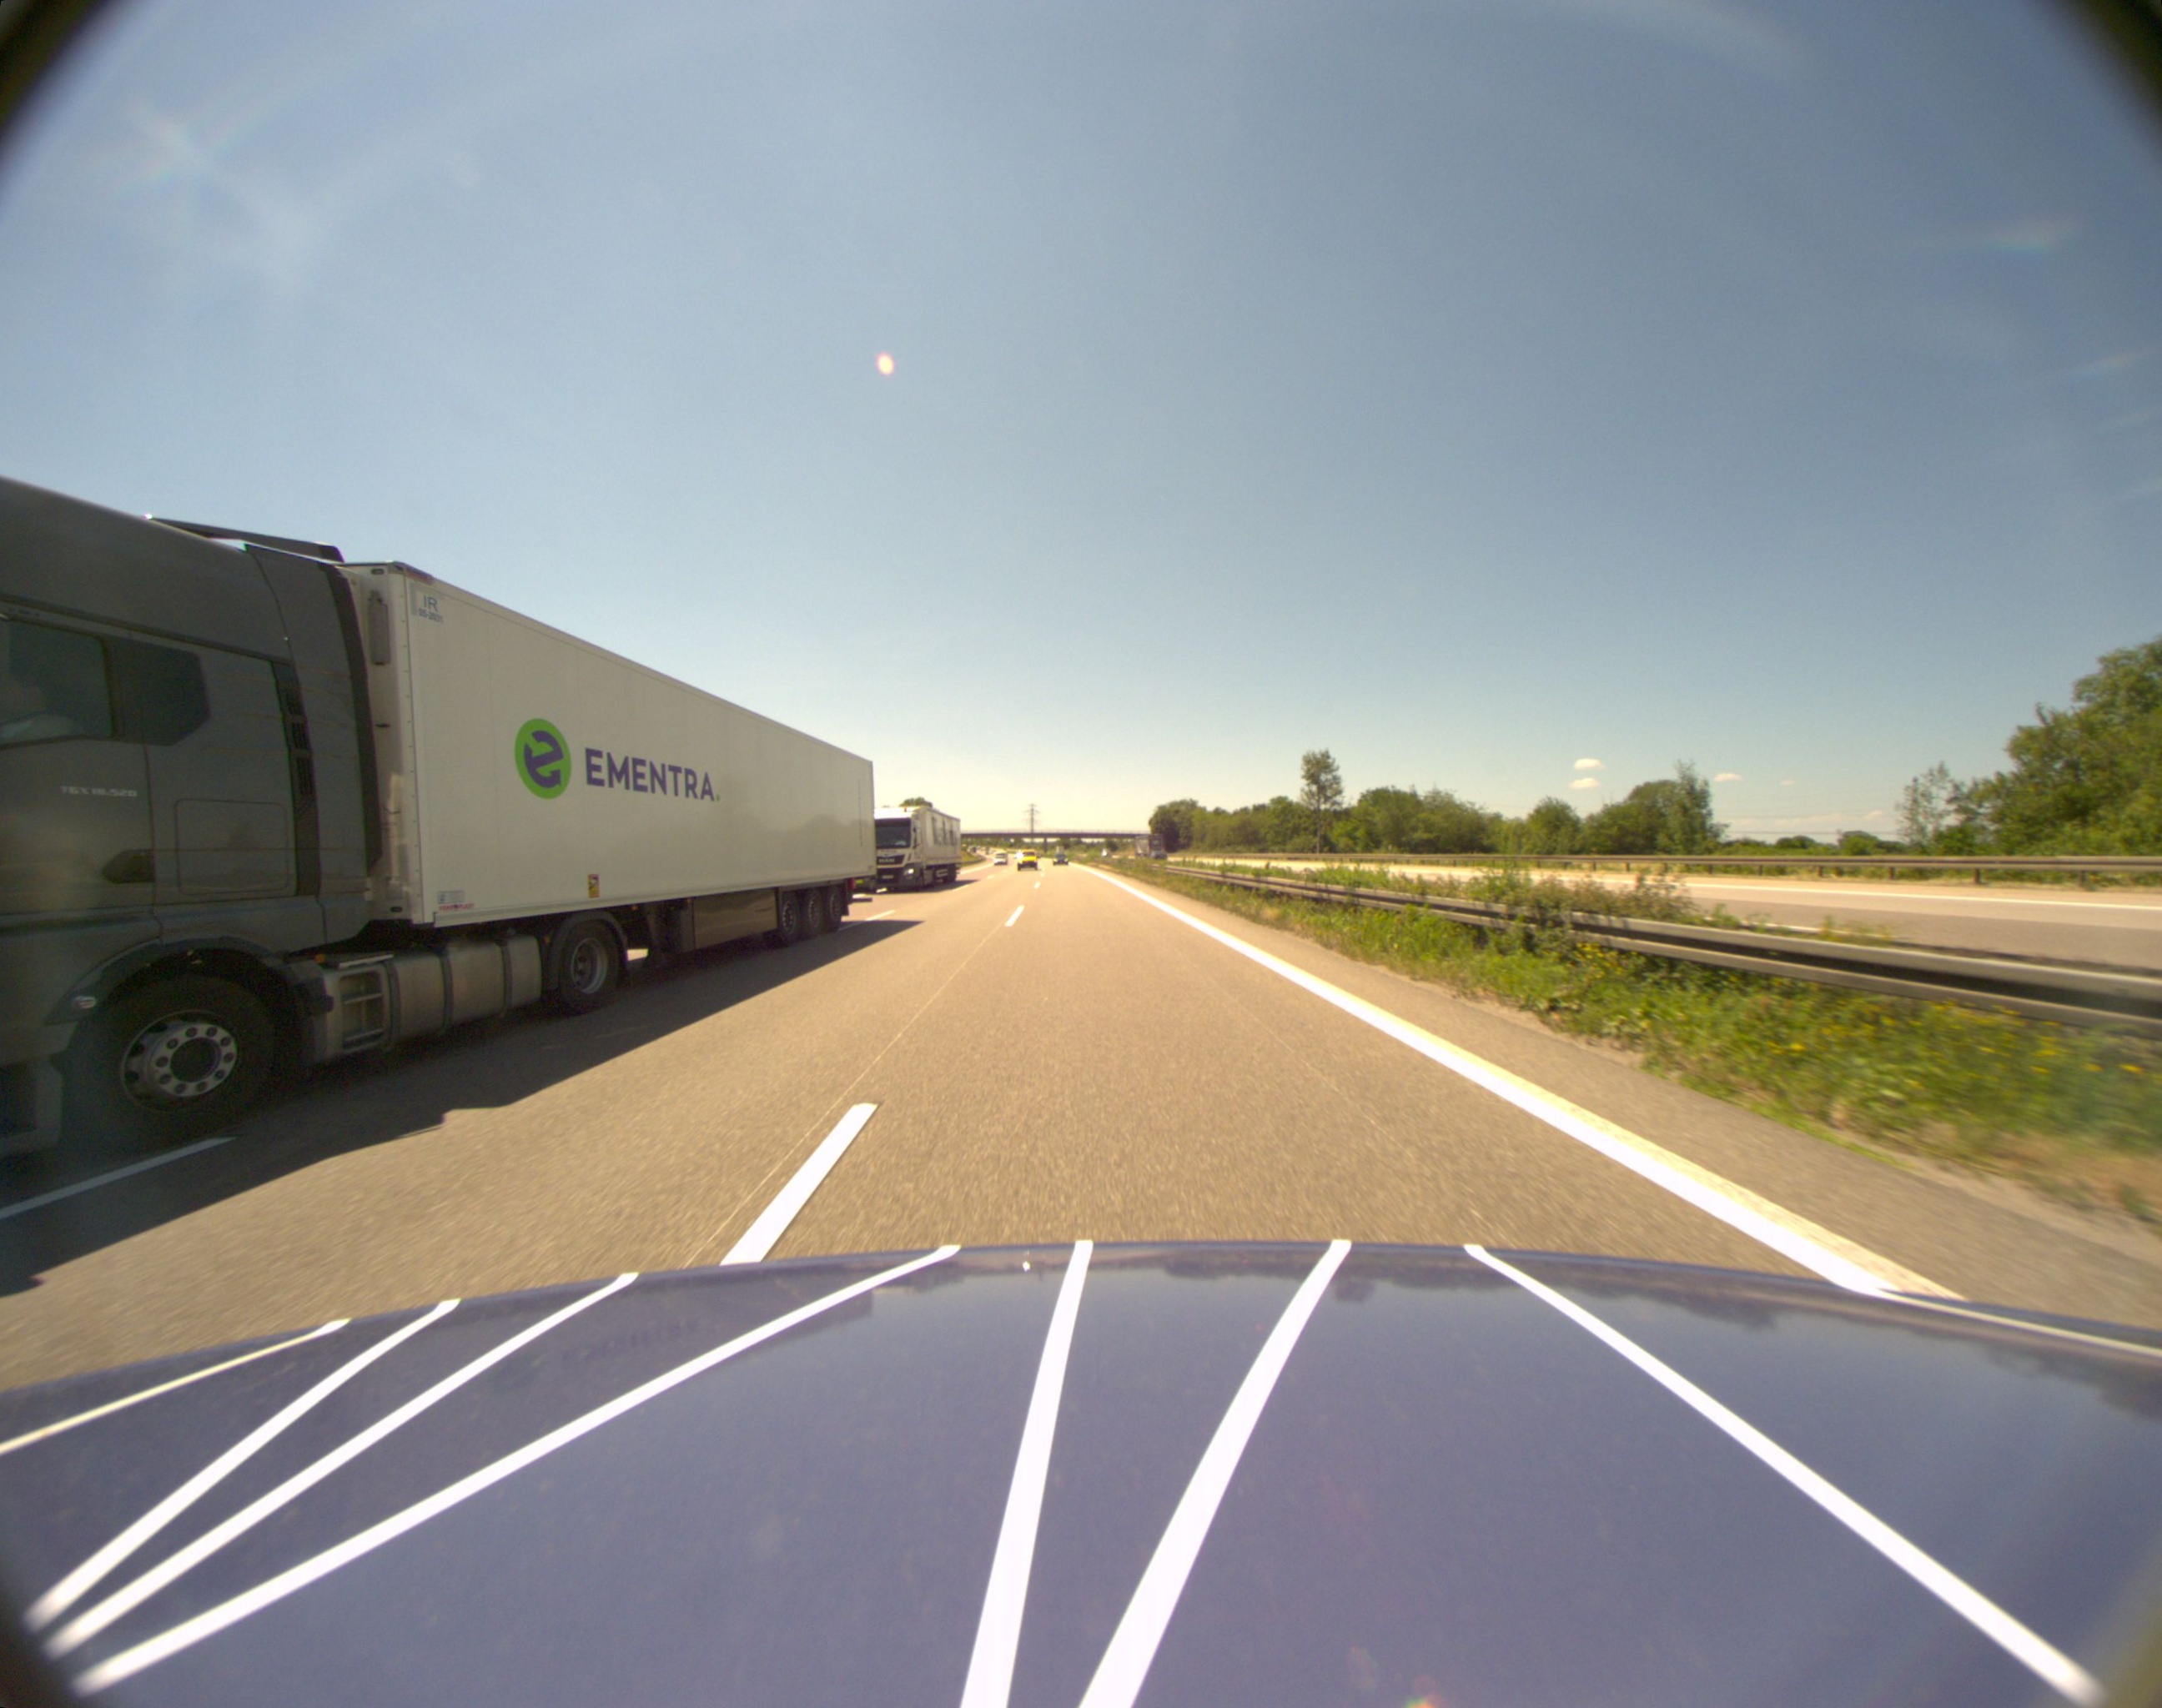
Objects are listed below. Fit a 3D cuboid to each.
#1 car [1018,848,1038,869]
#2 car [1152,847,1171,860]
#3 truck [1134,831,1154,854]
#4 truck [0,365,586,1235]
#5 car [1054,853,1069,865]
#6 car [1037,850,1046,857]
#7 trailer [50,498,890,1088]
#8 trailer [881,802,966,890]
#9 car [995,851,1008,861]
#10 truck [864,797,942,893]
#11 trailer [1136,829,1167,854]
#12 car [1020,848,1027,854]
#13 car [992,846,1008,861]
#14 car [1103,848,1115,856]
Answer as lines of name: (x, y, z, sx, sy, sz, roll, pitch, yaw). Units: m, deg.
car: (-4.991, 0.404, 72.007, 1.777, 1.882, 3.831, -1, 1, -4)
car: (10.157, -0.100, 95.993, 1.787, 1.509, 4.500, -2, 1, -2)
truck: (11.236, -2.039, 136.495, 2.902, 3.893, 3.998, -1, 1, -4)
truck: (-6.683, -0.257, 5.354, 2.915, 4.231, 4.974, -2, 1, 1)
car: (-2.435, 0.601, 94.029, 1.726, 1.478, 3.998, -1, 1, -4)
car: (-9.972, -0.244, 191.188, 2.000, 1.707, 3.996, -1, 1, -8)
trailer: (-6.632, -0.534, 13.087, 2.908, 4.630, 13.984, -2, 1, 0)
trailer: (-8.762, -0.470, 44.209, 2.603, 4.227, 13.634, -2, 1, -3)
car: (-11.908, 0.248, 113.354, 1.785, 1.467, 3.996, -1, 1, -8)
truck: (-8.388, -0.404, 36.429, 2.608, 4.231, 5.087, -2, 0, -3)
trailer: (11.846, -2.017, 129.234, 2.889, 3.925, 14.050, -1, 1, -5)
car: (-16.025, -0.774, 211.824, 1.650, 1.557, 3.597, -1, 1, -8)
car: (-12.814, -0.050, 119.808, 2.189, 2.253, 4.947, -1, 1, -8)
car: (5.684, -0.490, 155.353, 1.848, 1.577, 4.485, -1, 1, -4)
